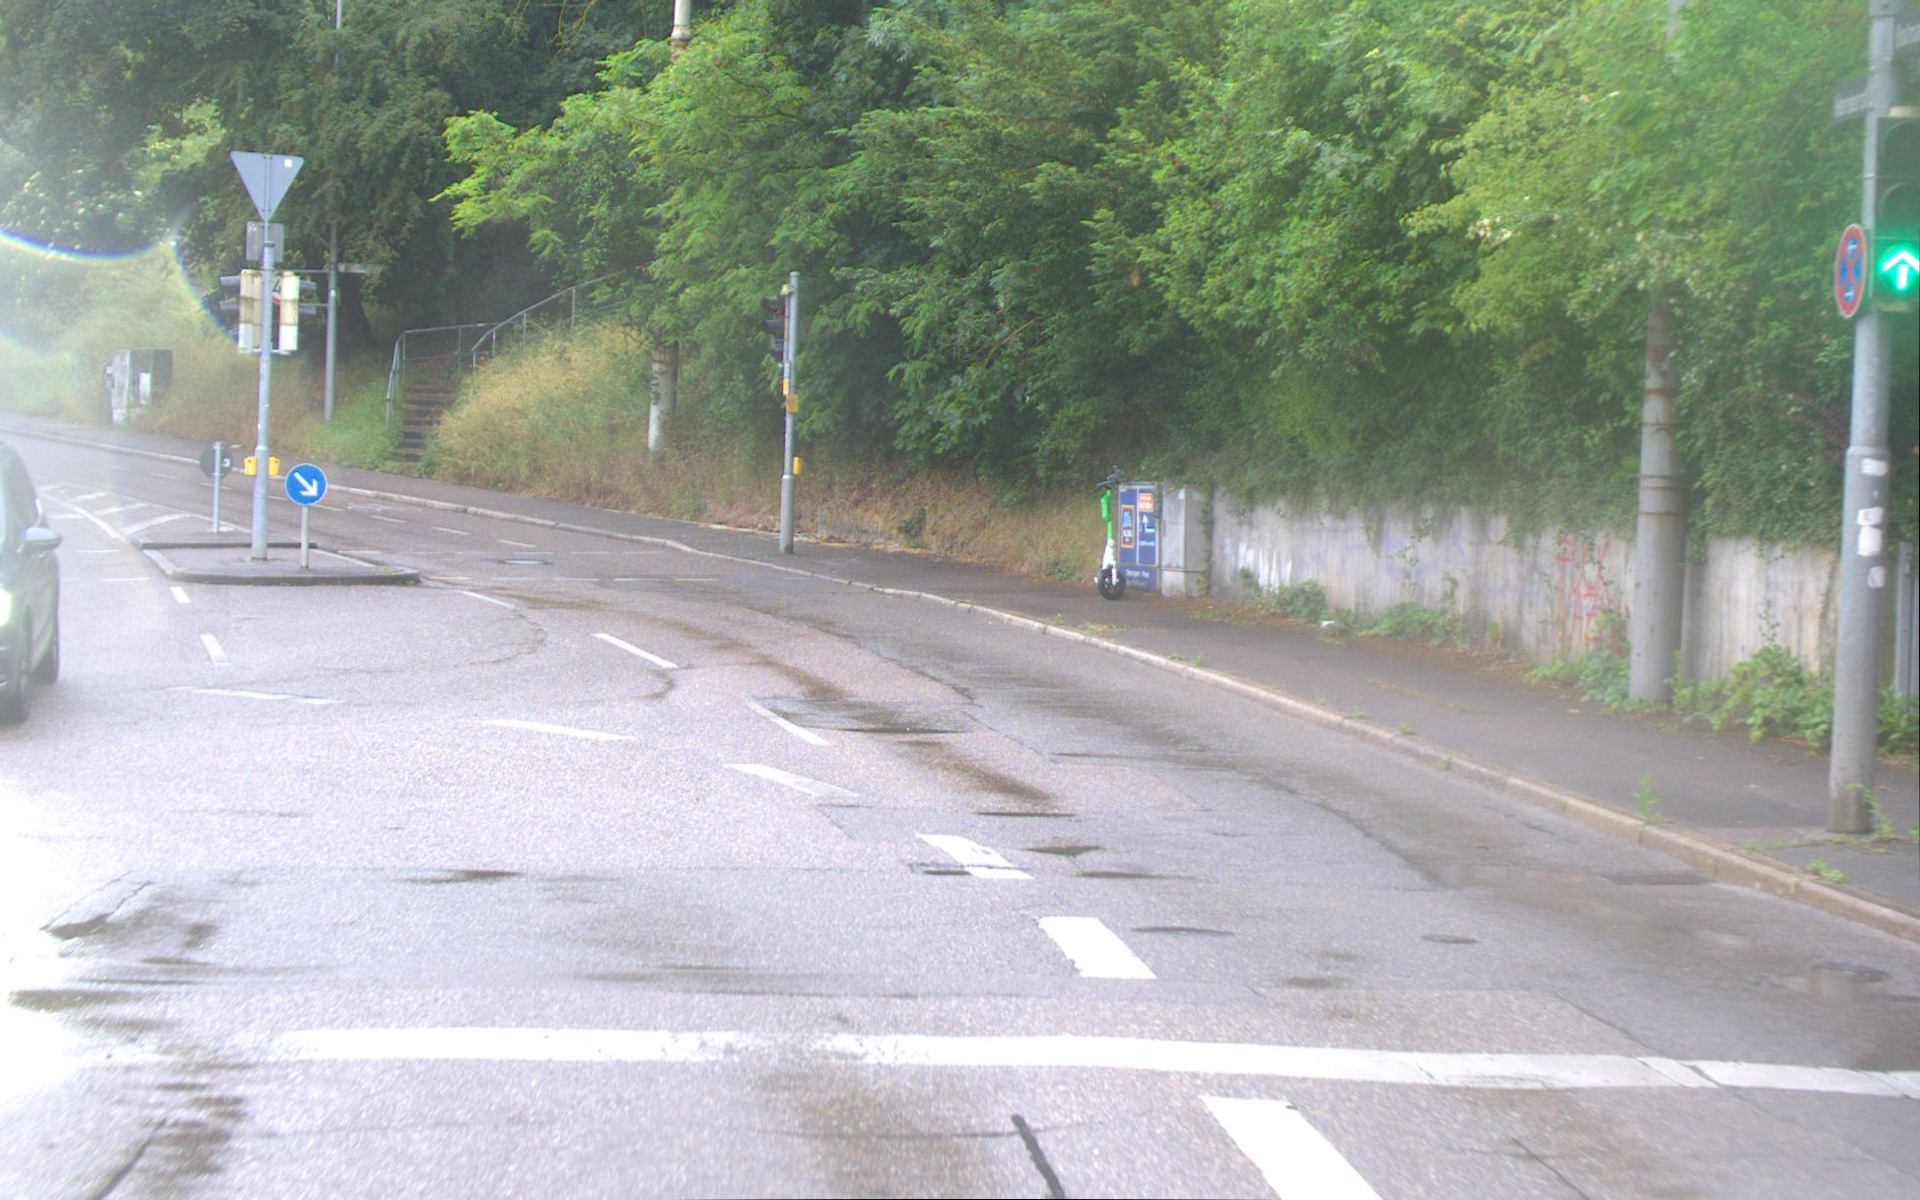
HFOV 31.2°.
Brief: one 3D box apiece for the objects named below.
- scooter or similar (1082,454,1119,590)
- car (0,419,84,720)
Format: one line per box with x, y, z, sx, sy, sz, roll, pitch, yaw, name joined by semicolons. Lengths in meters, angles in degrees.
1.372;-0.765;33.499;0.322;1.275;0.751;1;4;4;scooter or similar
-6.584;-0.269;21.381;1.848;1.674;4.174;-1;4;-10;car
